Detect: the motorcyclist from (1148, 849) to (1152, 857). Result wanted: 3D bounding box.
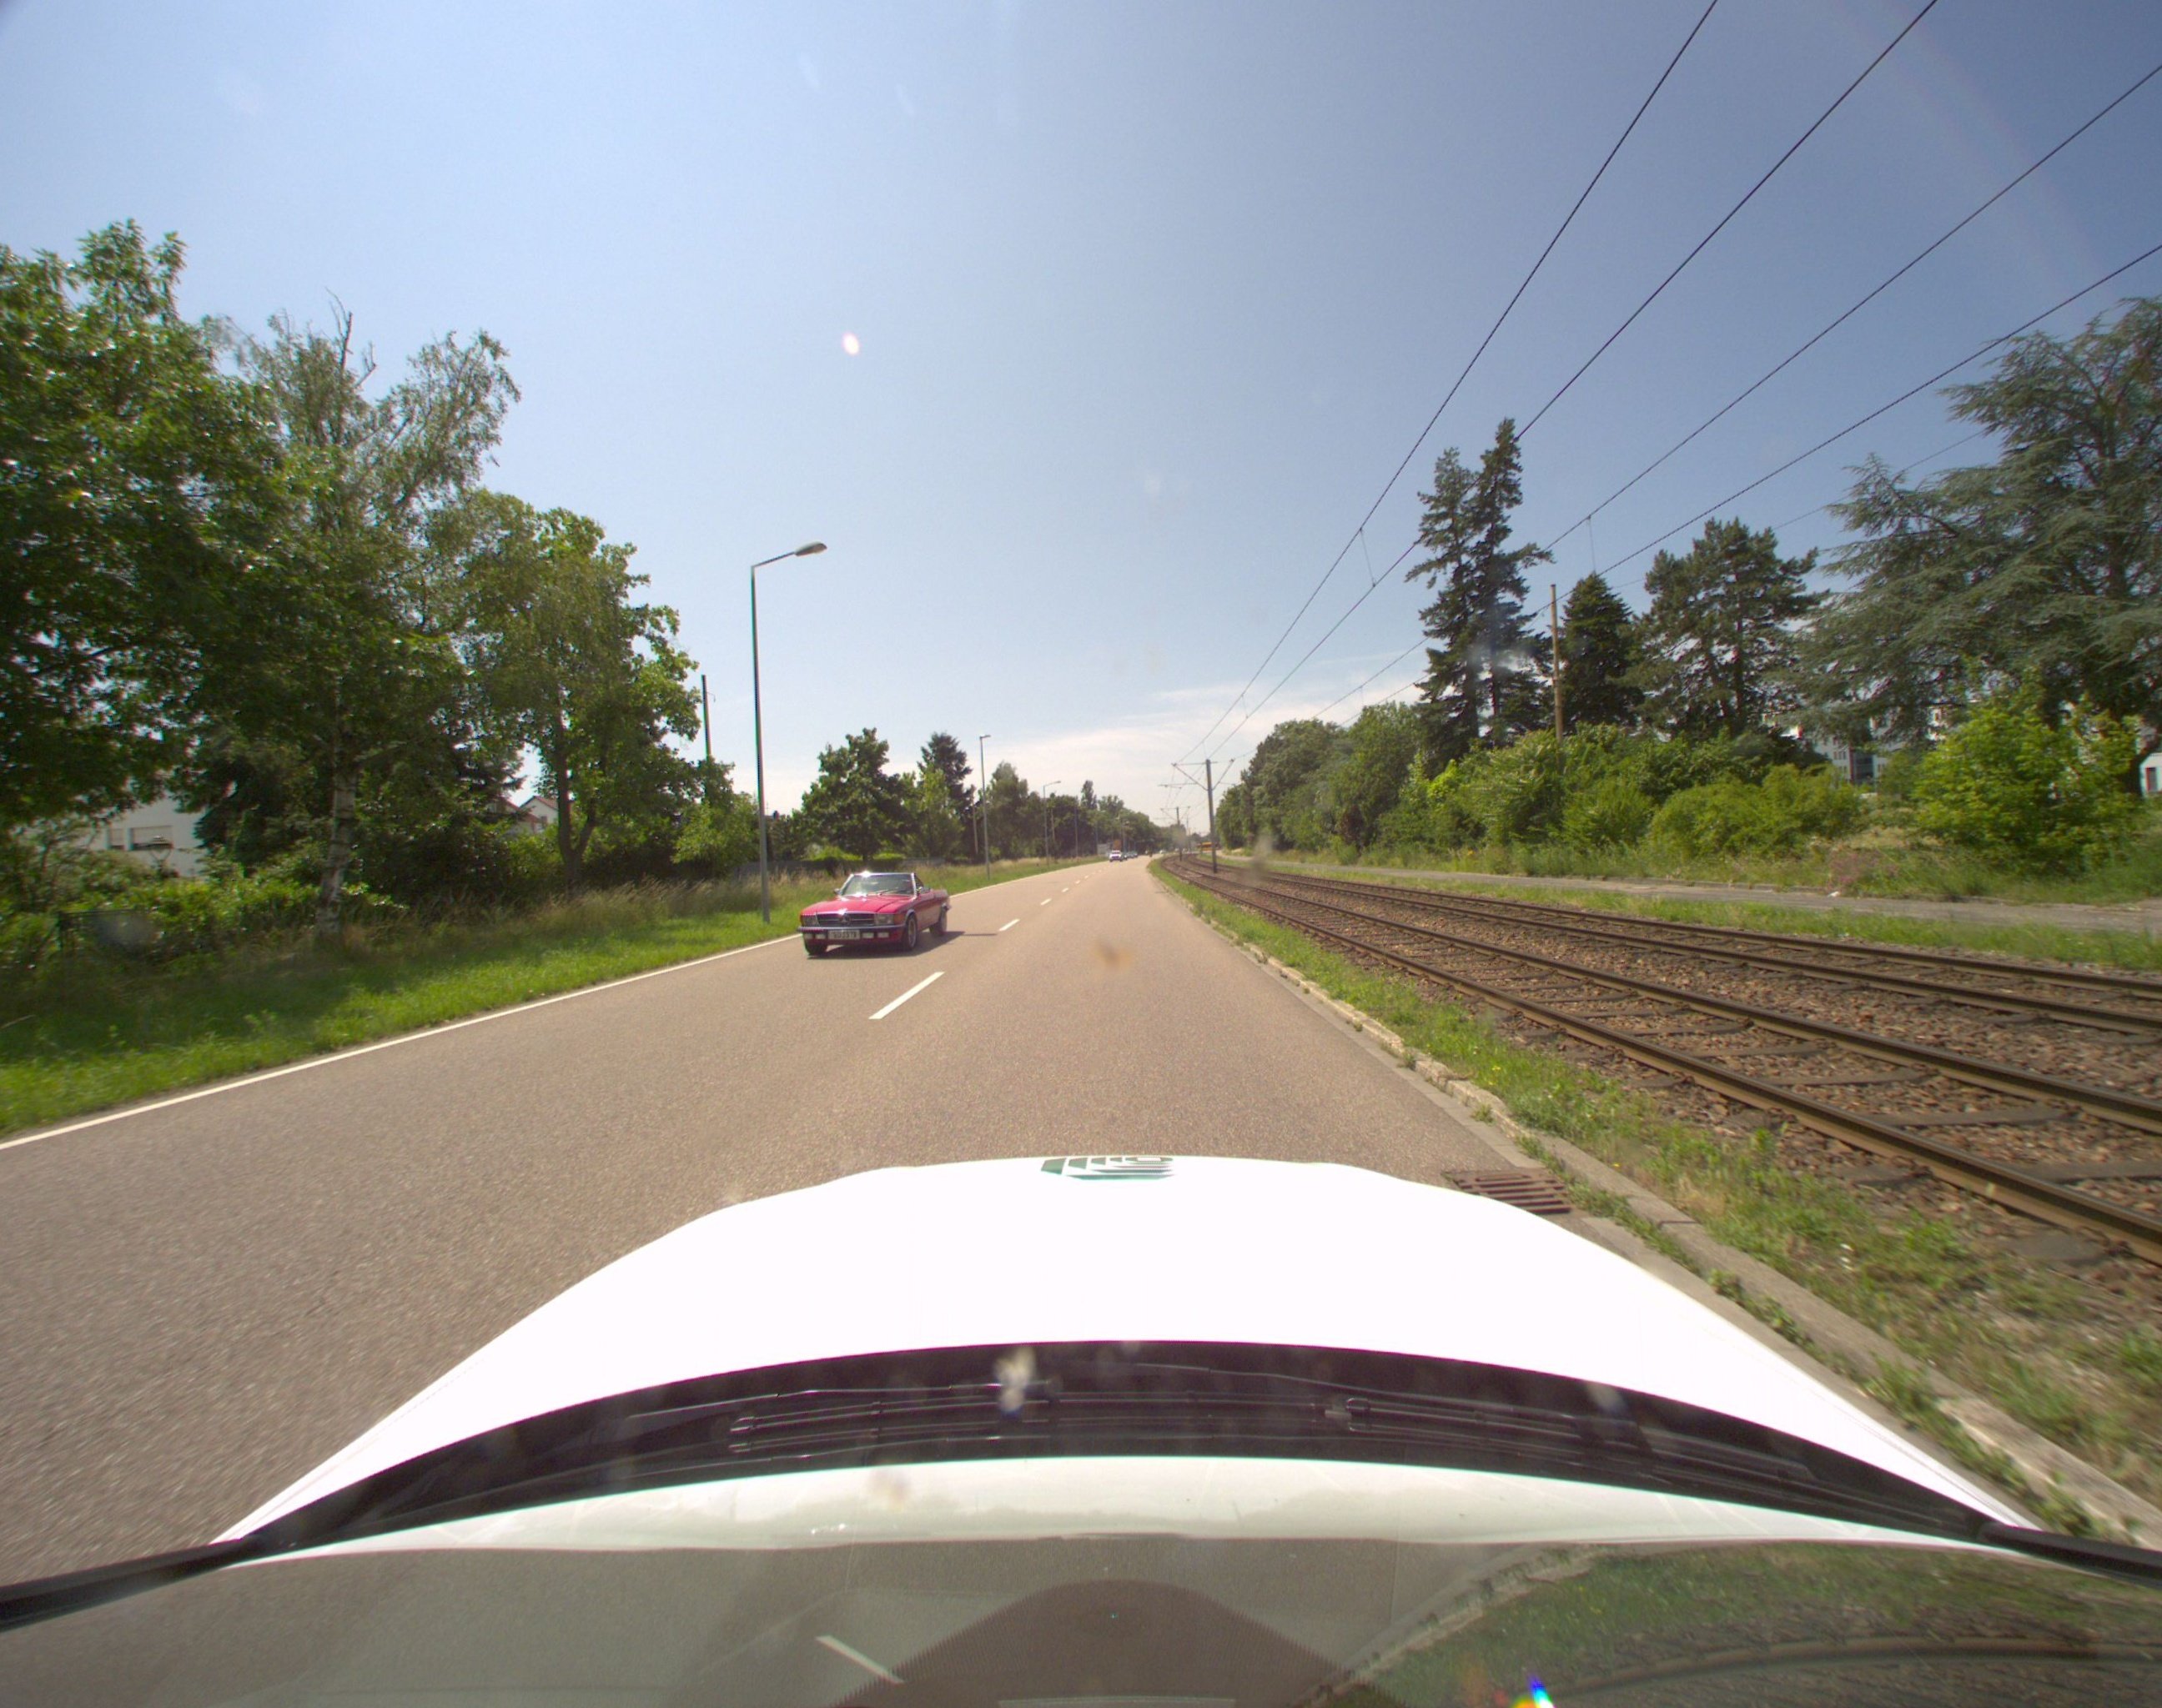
[{"bbox_3d":[16.161,-0.183,191.438,0.887,1.905,1.017,-2,-1,5],"label":"motorcyclist"}]

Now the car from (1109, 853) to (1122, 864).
[{"bbox_3d":[5.622,0.731,131.161,1.927,1.796,4.717,-2,-1,4],"label":"car"}]

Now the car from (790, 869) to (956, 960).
[{"bbox_3d":[-3.547,0.970,14.724,1.742,1.301,4.255,-2,-1,2],"label":"car"}]

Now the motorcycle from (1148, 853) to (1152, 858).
[{"bbox_3d":[16.198,0.450,191.433,0.965,1.117,2.737,-2,-1,6],"label":"motorcycle"}]

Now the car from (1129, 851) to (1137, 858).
[{"bbox_3d":[12.153,0.223,190.138,1.809,1.538,4.368,-2,-1,4],"label":"car"}]

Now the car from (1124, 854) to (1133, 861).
[{"bbox_3d":[10.126,0.759,175.080,1.809,1.493,4.368,-2,-1,4],"label":"car"}]
